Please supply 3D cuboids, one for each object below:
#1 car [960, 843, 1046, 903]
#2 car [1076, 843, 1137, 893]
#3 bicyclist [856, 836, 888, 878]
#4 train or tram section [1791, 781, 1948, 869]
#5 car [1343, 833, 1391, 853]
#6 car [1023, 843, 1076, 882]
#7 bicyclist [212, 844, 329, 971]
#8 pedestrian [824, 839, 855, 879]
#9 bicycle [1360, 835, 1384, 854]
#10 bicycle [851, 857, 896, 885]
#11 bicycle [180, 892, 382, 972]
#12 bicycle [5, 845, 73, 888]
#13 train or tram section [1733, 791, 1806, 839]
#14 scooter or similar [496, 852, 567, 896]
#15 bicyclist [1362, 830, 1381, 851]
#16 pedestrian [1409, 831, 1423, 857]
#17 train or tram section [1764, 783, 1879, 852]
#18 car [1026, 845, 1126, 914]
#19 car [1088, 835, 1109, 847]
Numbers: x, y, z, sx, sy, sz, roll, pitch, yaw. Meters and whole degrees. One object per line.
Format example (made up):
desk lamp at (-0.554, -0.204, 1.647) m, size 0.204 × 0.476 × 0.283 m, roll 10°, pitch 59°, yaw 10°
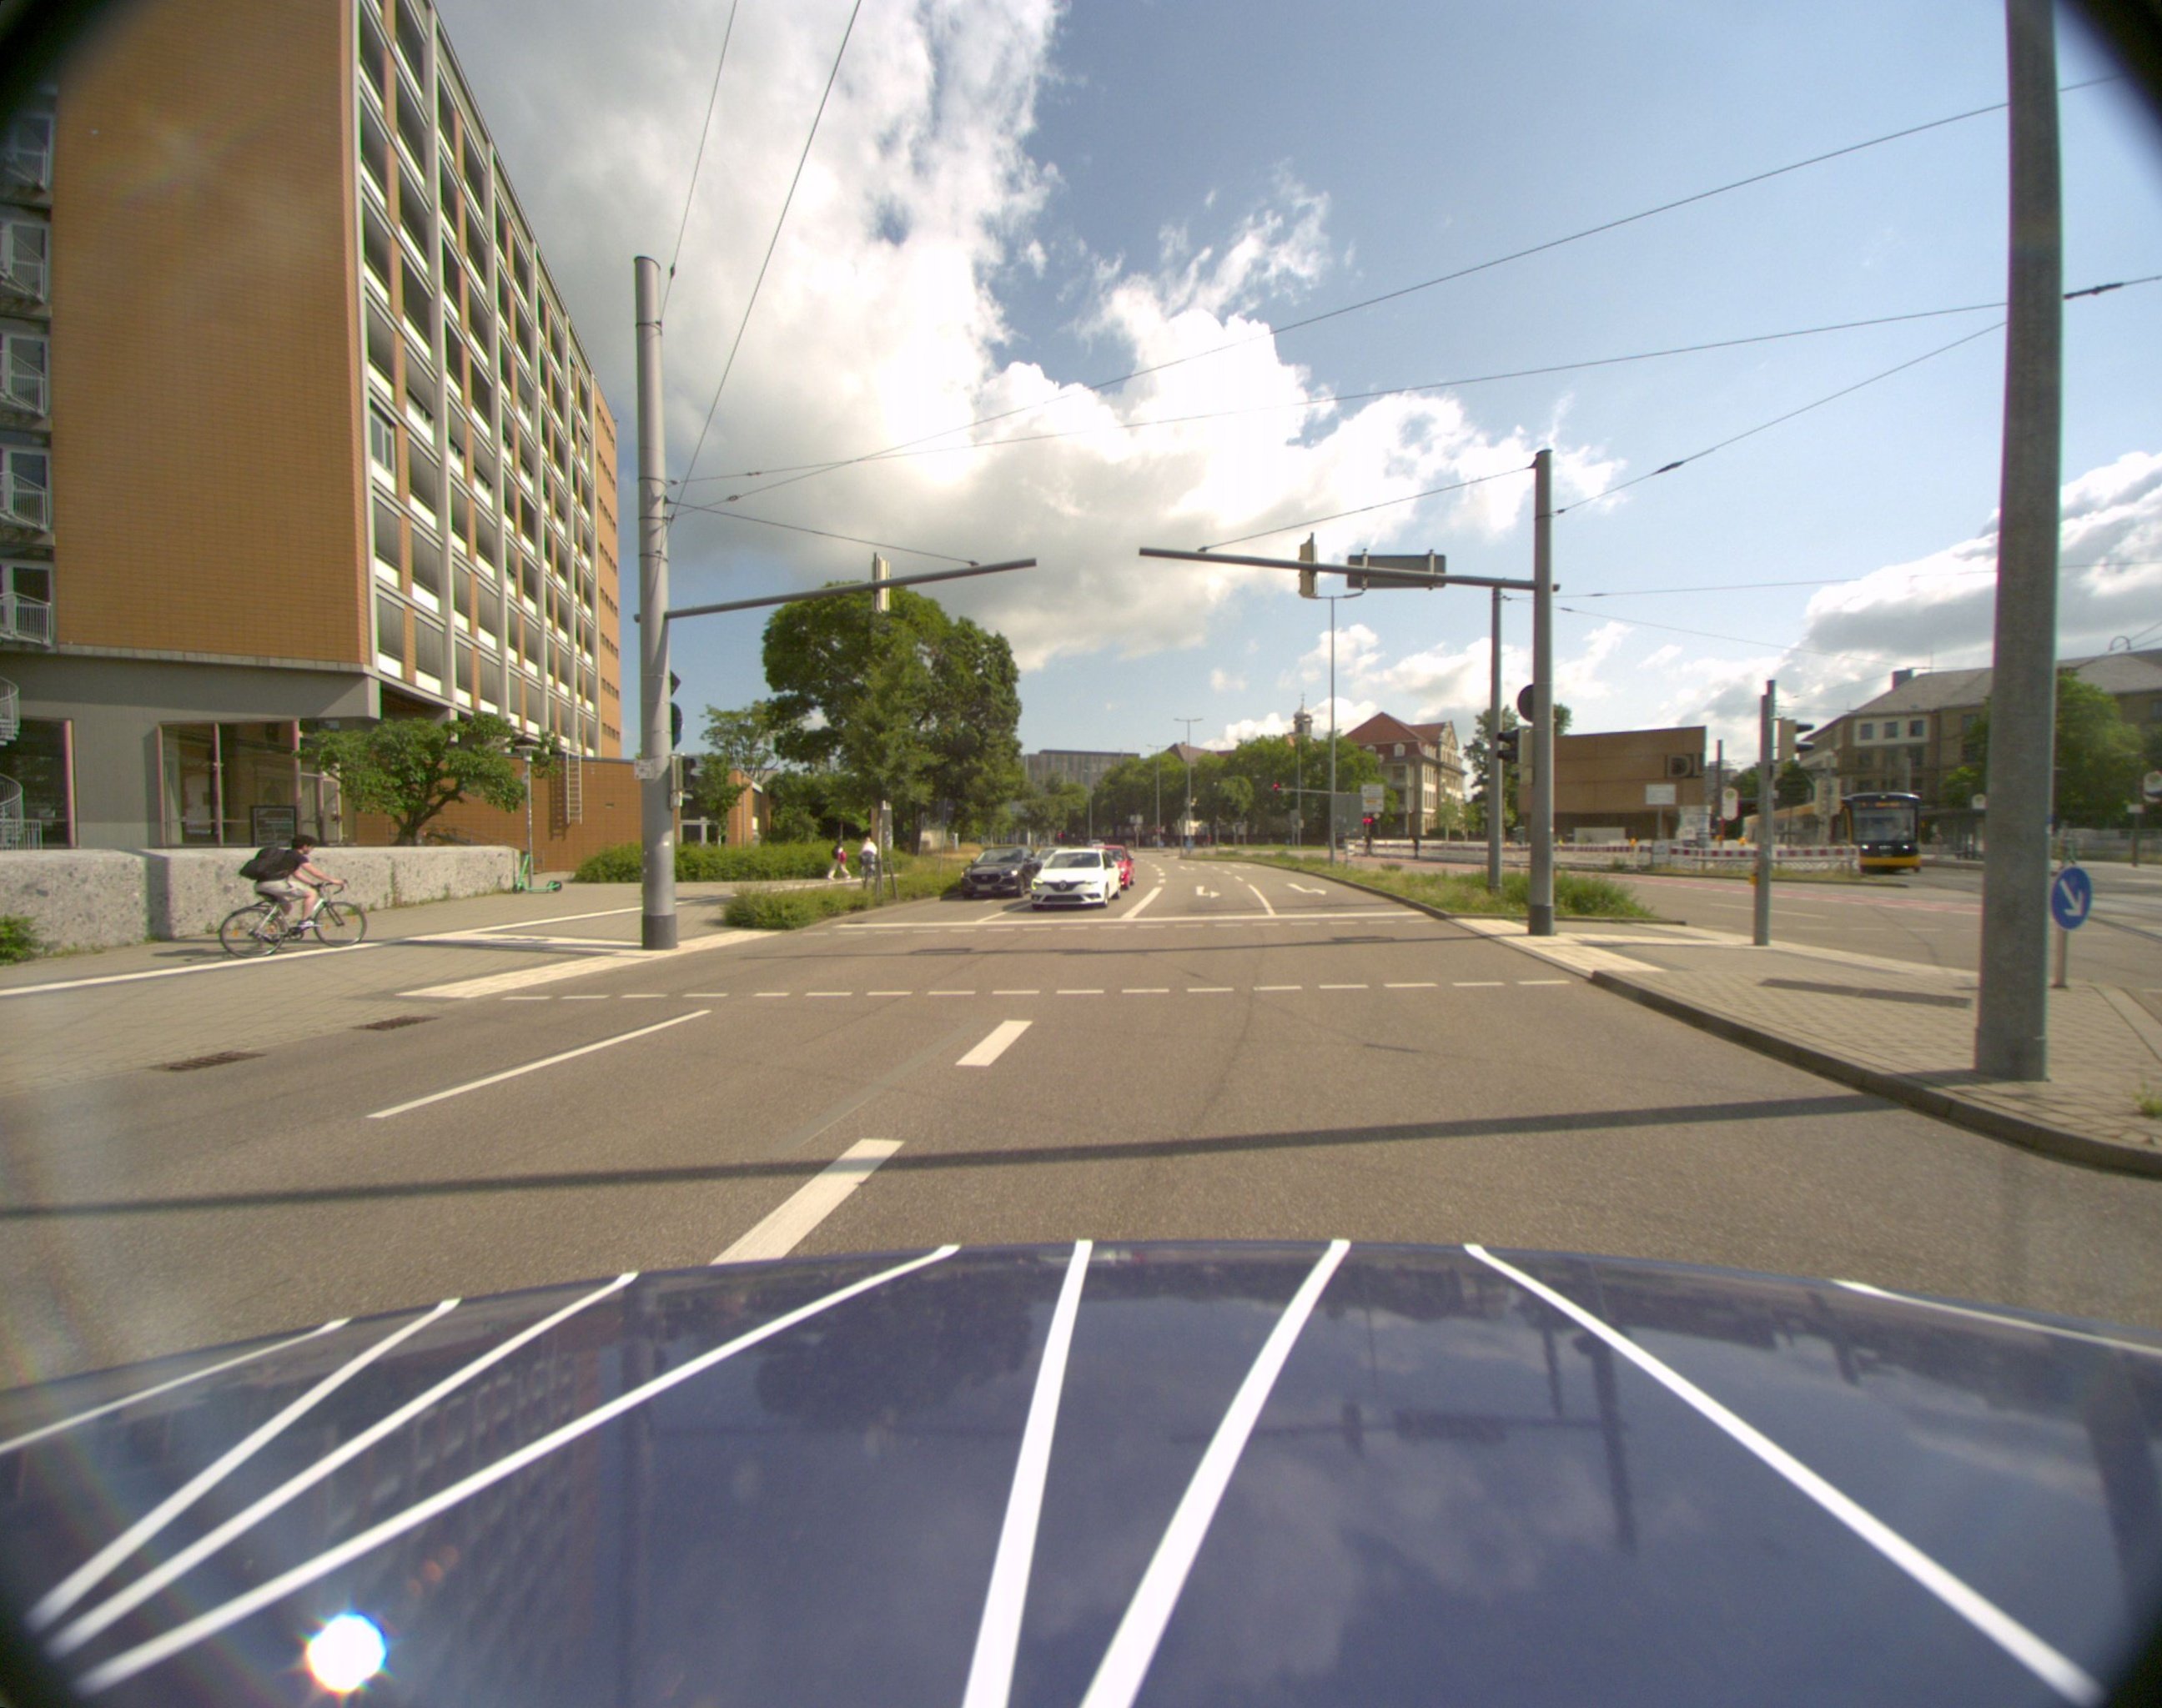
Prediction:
car at (-2.308, 0.506, 23.585) m, size 1.644 × 1.567 × 4.213 m, roll -2°, pitch 2°, yaw 8°
car at (0.953, 0.424, 26.143) m, size 1.644 × 1.459 × 4.066 m, roll -2°, pitch 2°, yaw 7°
bicyclist at (-7.431, 0.098, 27.091) m, size 0.635 × 1.449 × 1.170 m, roll 0°, pitch 2°, yaw 10°
train or tram section at (35.964, -1.382, 35.180) m, size 3.315 × 3.461 × 10.626 m, roll 0°, pitch 3°, yaw 36°
car at (26.802, -1.030, 71.216) m, size 3.989 × 1.773 × 2.003 m, roll 0°, pitch 2°, yaw 28°
car at (-1.246, 0.304, 31.571) m, size 1.586 × 1.377 × 4.079 m, roll -2°, pitch 2°, yaw 6°
bicyclist at (-11.287, 0.703, 10.606) m, size 0.578 × 1.662 × 0.938 m, roll 2°, pitch 2°, yaw 22°
pedestrian at (-9.683, 0.180, 30.407) m, size 0.959 × 1.569 × 0.767 m, roll -2°, pitch 2°, yaw -37°
bicycle at (22.823, -0.760, 59.659) m, size 0.972 × 1.403 × 2.293 m, roll 0°, pitch 2°, yaw -1°
bicycle at (-7.394, 0.589, 27.210) m, size 0.652 × 0.892 × 2.277 m, roll 0°, pitch 1°, yaw 10°
bicycle at (-11.238, 1.057, 10.760) m, size 0.759 × 0.870 × 1.812 m, roll 3°, pitch 2°, yaw 22°
bicycle at (-31.442, 0.344, 22.951) m, size 0.429 × 1.240 × 1.472 m, roll -1°, pitch 2°, yaw -20°
train or tram section at (54.854, -3.129, 60.832) m, size 3.315 × 3.461 × 10.626 m, roll 0°, pitch 3°, yaw 36°
scooter or similar at (-15.228, 0.552, 21.074) m, size 1.540 × 1.176 × 0.433 m, roll 0°, pitch 1°, yaw -44°
bicyclist at (22.816, -1.061, 59.684) m, size 0.777 × 1.554 × 1.775 m, roll 0°, pitch 2°, yaw -2°
pedestrian at (23.319, -0.698, 52.898) m, size 0.652 × 1.754 × 1.002 m, roll 0°, pitch 2°, yaw 8°
train or tram section at (42.284, -2.096, 43.813) m, size 3.315 × 3.461 × 10.626 m, roll 0°, pitch 3°, yaw 36°
car at (0.007, 0.570, 19.807) m, size 1.760 × 1.421 × 4.676 m, roll -2°, pitch 2°, yaw 10°
car at (2.393, -1.807, 104.530) m, size 1.833 × 1.517 × 3.993 m, roll -1°, pitch 1°, yaw -17°
